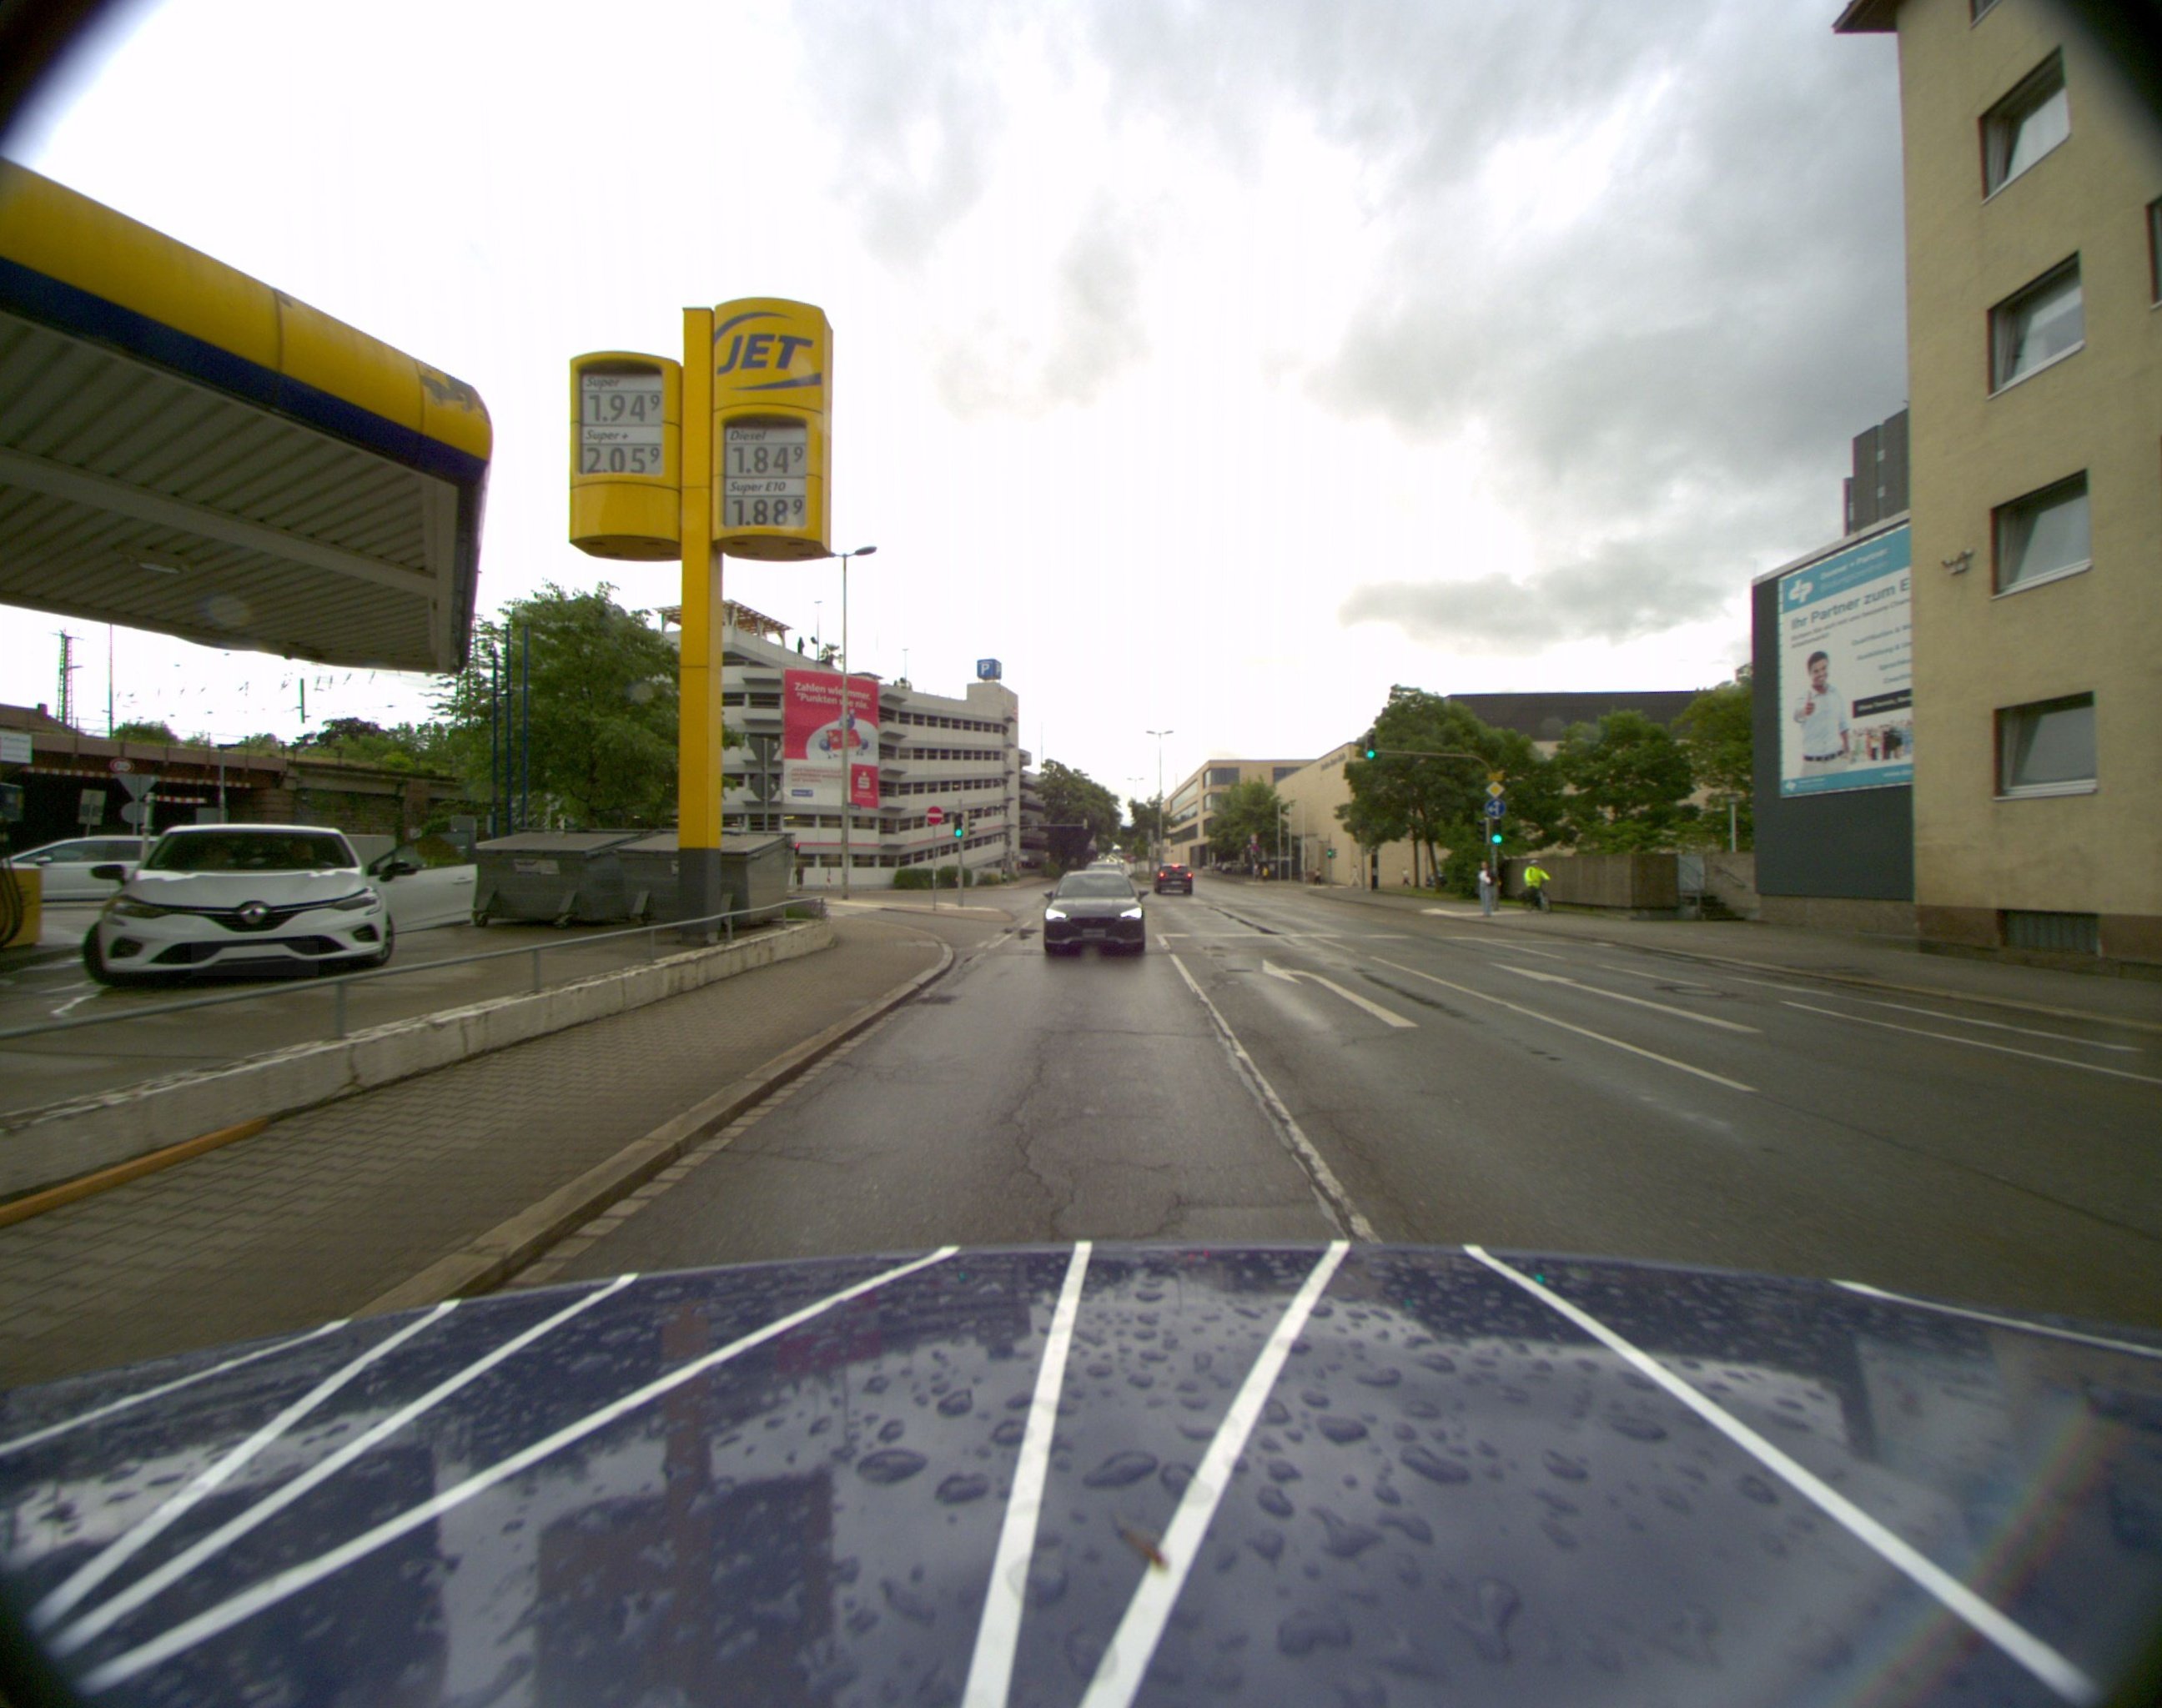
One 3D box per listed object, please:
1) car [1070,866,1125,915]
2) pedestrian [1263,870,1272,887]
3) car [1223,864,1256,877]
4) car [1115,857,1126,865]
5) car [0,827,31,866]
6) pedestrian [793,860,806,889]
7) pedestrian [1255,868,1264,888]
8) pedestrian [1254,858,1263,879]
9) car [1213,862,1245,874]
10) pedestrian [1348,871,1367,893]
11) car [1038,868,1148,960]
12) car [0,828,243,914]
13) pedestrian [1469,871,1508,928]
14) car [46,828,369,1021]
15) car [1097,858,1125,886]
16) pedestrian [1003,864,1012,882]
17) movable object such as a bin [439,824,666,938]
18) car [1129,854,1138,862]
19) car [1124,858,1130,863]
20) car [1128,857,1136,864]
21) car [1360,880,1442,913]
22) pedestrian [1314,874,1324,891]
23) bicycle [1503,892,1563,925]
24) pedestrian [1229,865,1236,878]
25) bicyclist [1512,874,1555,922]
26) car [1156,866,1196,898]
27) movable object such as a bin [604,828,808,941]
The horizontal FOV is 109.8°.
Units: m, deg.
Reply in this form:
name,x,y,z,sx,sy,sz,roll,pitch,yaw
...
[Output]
name,x,y,z,sx,sy,sz,roll,pitch,yaw
car,0.683,1.318,28.776,1.845,1.646,4.001,-2,0,4
pedestrian,16.623,2.193,67.792,0.595,1.507,0.692,-2,0,1
car,20.749,2.173,99.710,3.995,1.575,2.001,-2,0,6
car,8.706,1.595,167.608,1.998,1.772,4.000,-2,0,0
car,-53.587,-0.313,36.787,4.155,1.772,2.003,-2,0,18
pedestrian,-18.202,1.317,49.170,0.546,1.879,0.506,3,-1,-38
pedestrian,16.169,2.166,68.979,0.595,1.721,0.692,-2,0,-2
pedestrian,15.484,1.247,66.289,0.595,1.761,0.692,-2,0,1
car,19.939,1.877,102.245,3.995,1.575,2.001,-2,0,6
pedestrian,21.726,2.202,59.682,1.113,1.690,0.807,-2,0,0
car,0.187,1.022,14.624,1.739,1.380,4.582,-2,0,0
car,-21.813,0.431,16.553,1.995,1.715,4.410,-2,-4,30
pedestrian,12.449,1.379,23.224,0.719,1.679,0.811,-2,0,4
car,-8.431,0.491,7.682,1.750,1.434,3.988,1,1,-44
car,2.184,1.223,53.690,1.804,1.817,3.951,-3,-1,4
pedestrian,-6.837,1.806,70.895,0.583,1.650,0.519,2,2,19
movable object such as a bin,-7.888,0.379,11.516,2.160,1.546,1.773,1,0,3
car,13.477,1.004,195.847,1.855,1.841,4.301,2,0,1
car,13.846,1.938,228.064,1.675,1.598,4.301,2,0,1
car,11.661,1.564,174.040,1.675,1.461,4.301,2,0,1
car,22.211,2.949,52.813,4.789,1.914,2.000,3,0,0
pedestrian,19.405,2.311,61.984,0.622,1.368,0.475,-2,0,3
bicycle,14.223,1.709,23.985,0.887,0.902,1.867,-2,0,5
pedestrian,19.168,2.235,96.015,0.803,1.637,0.977,-2,0,9
bicyclist,14.225,1.367,23.918,0.844,1.433,0.813,-2,0,4
car,5.000,1.452,40.487,1.812,1.585,4.296,0,0,3
movable object such as a bin,-5.558,0.422,11.491,2.160,1.565,1.773,0,0,3
